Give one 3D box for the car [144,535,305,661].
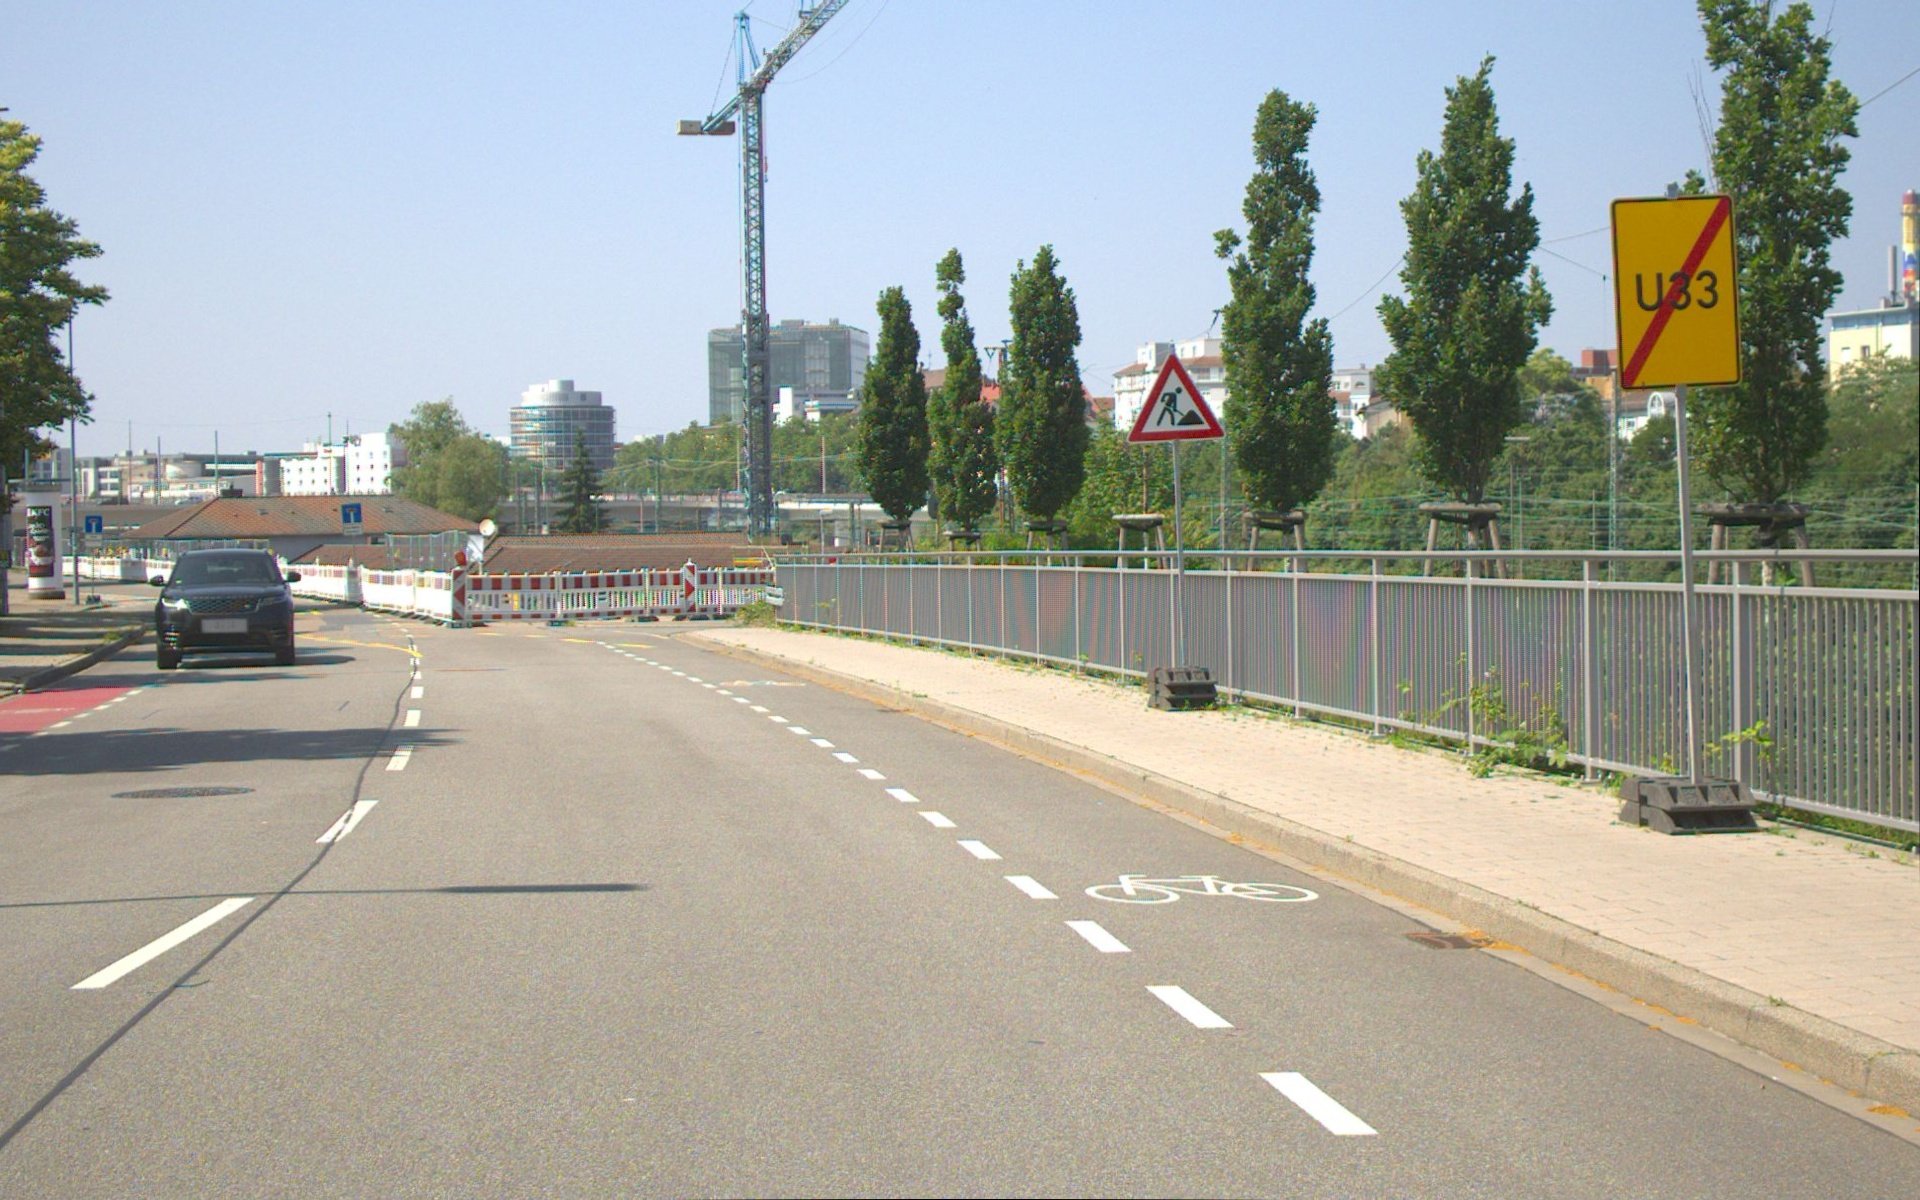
[{"bbox_3d":[-10.698,-0.075,49.773,1.949,1.689,4.614,-2,2,-16],"label":"car"}]
